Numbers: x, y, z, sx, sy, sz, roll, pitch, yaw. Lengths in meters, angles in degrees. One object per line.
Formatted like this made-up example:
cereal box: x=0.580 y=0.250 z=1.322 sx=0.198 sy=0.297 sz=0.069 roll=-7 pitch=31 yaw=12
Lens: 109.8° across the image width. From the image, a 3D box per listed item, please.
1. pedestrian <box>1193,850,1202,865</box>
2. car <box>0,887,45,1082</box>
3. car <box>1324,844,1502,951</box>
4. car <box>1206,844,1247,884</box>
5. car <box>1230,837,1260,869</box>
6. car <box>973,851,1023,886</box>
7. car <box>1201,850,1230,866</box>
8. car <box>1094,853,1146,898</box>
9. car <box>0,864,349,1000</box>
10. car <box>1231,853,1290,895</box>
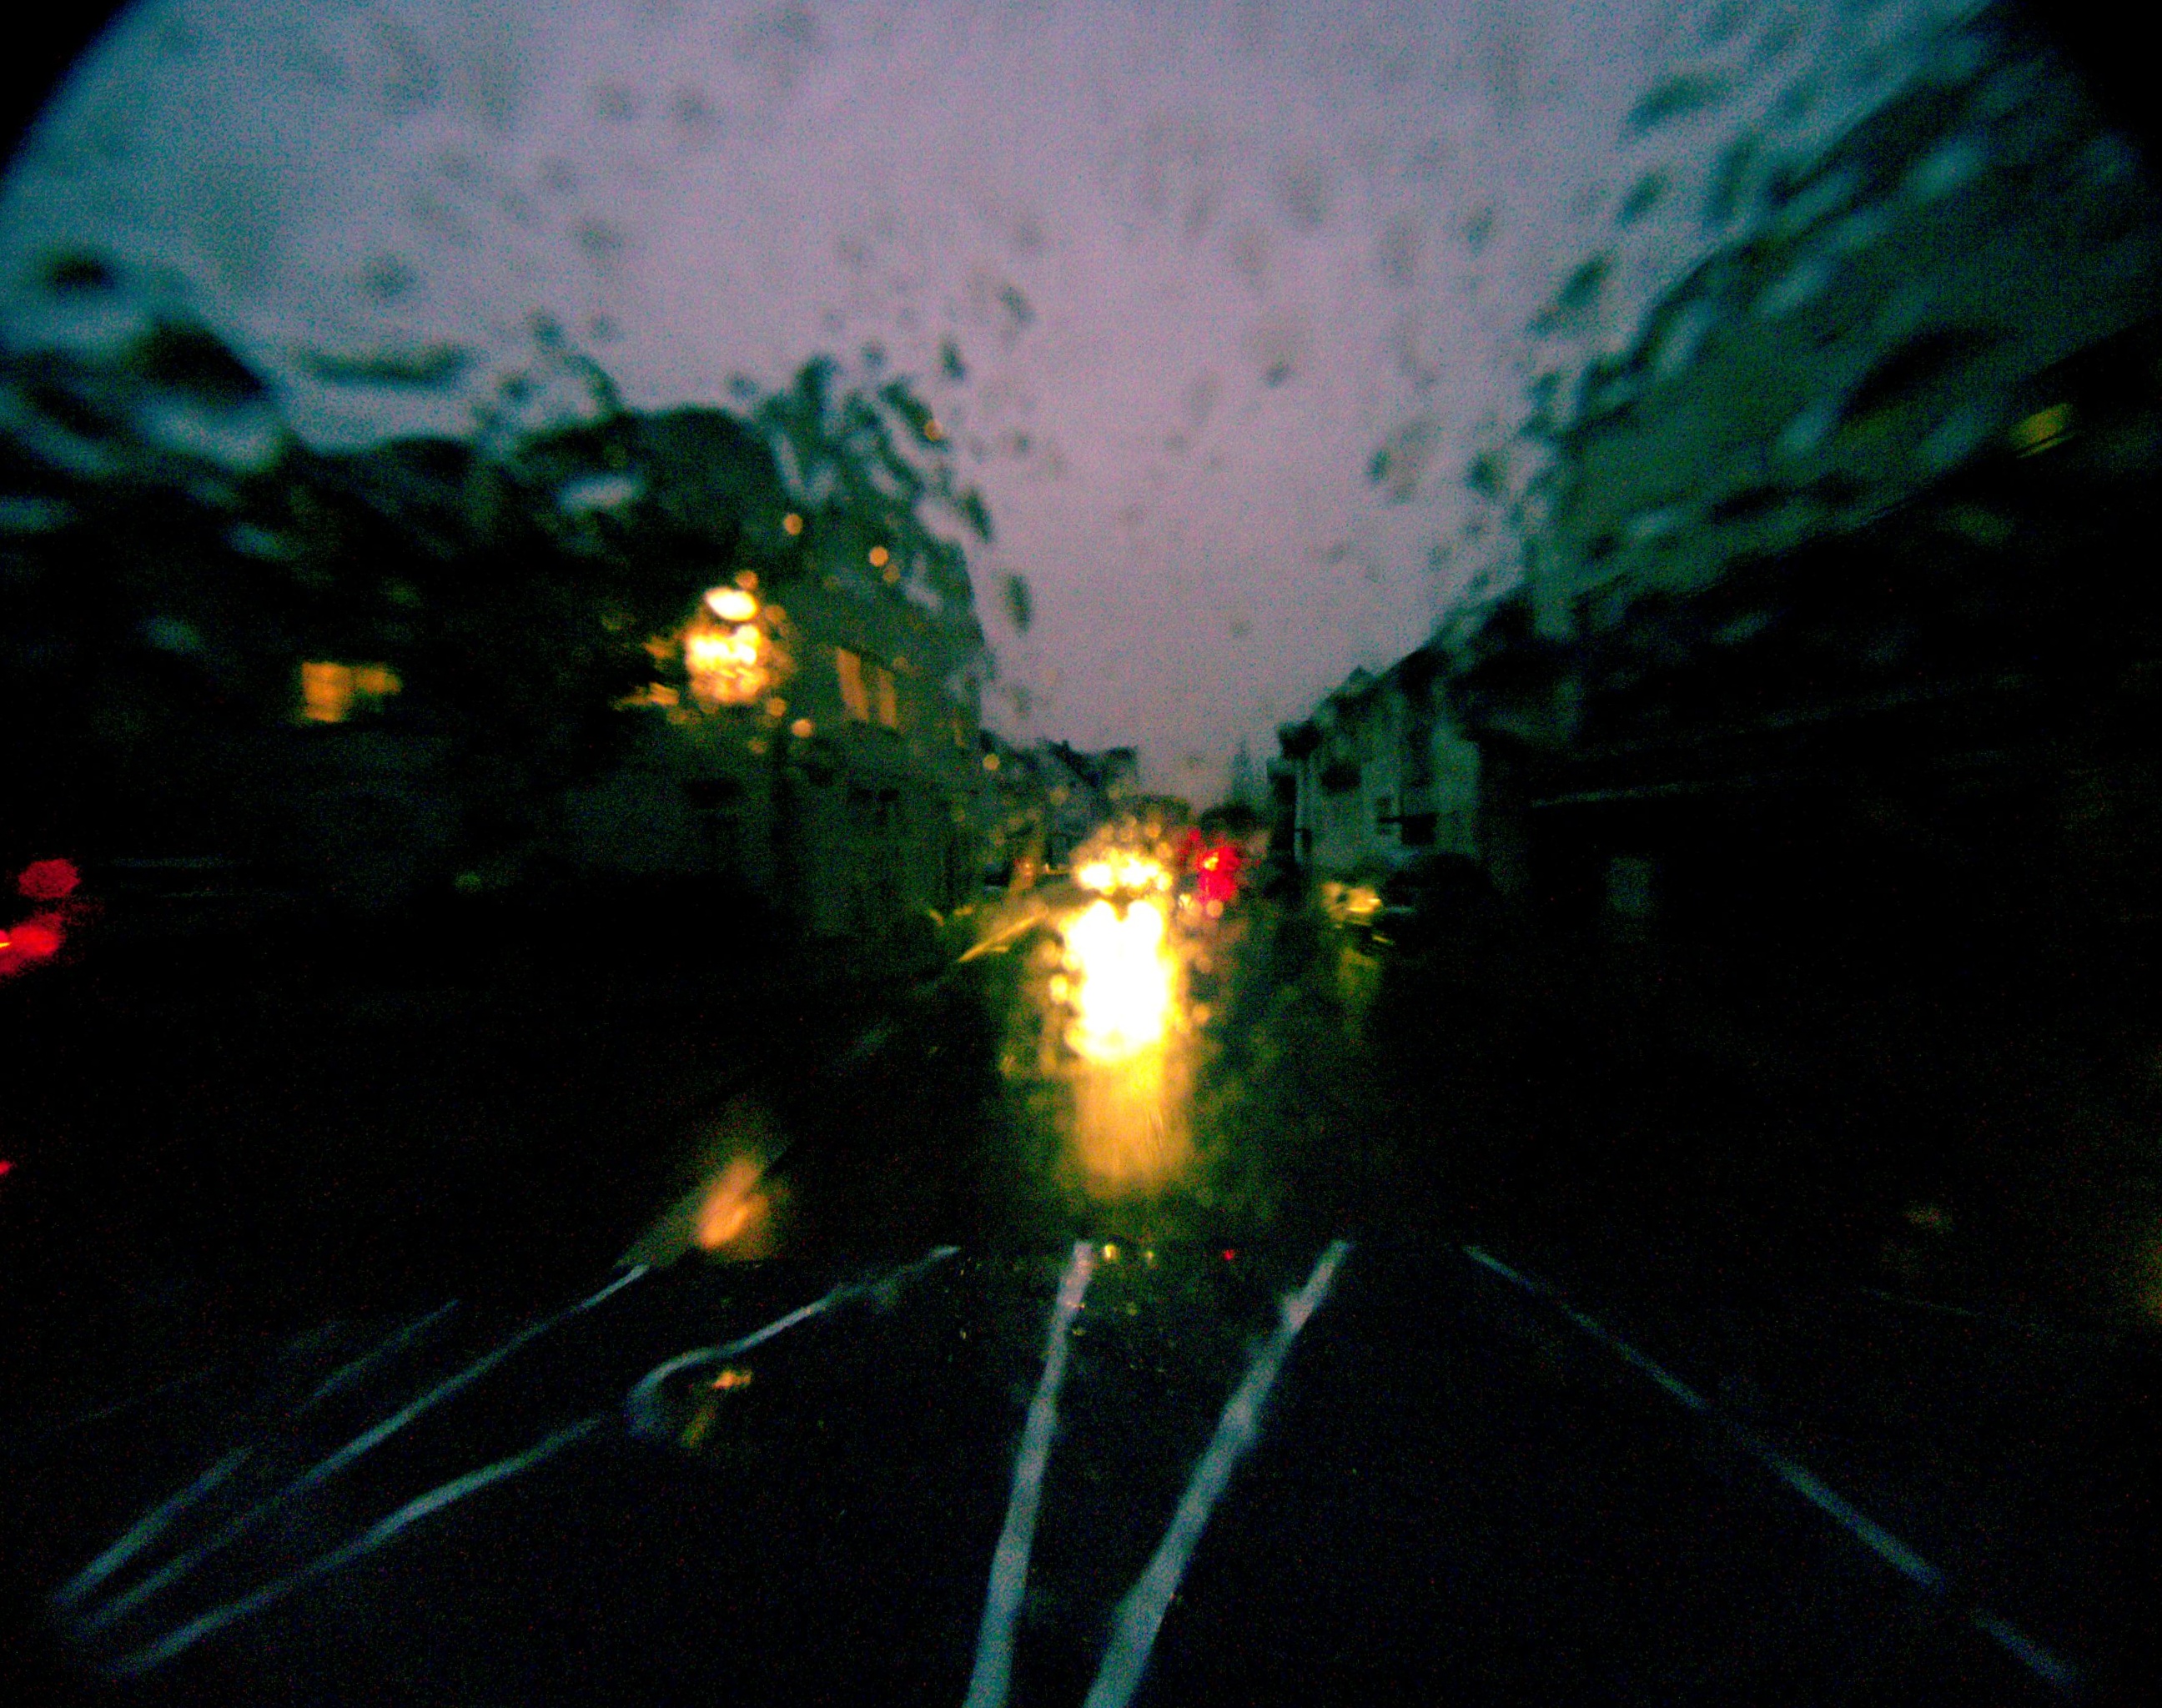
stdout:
pedestrian: x=12.770 y=0.402 z=83.359 sx=0.651 sy=1.651 sz=0.648 roll=1 pitch=1 yaw=-38
car: x=-9.871 y=0.982 z=4.944 sx=3.724 sy=1.439 sz=1.776 roll=0 pitch=0 yaw=-1
car: x=5.897 y=0.694 z=14.025 sx=1.725 sy=1.605 sz=3.816 roll=-4 pitch=0 yaw=3
car: x=7.602 y=0.519 z=39.624 sx=1.883 sy=1.888 sz=4.838 roll=-3 pitch=-1 yaw=11
car: x=14.673 y=-0.103 z=67.989 sx=2.044 sy=2.644 sz=4.215 roll=-4 pitch=0 yaw=18
car: x=-4.565 y=0.781 z=42.383 sx=1.784 sy=1.811 sz=4.246 roll=0 pitch=0 yaw=8
car: x=12.995 y=0.387 z=73.162 sx=1.995 sy=1.491 sz=4.006 roll=-1 pitch=0 yaw=21
car: x=1.570 y=0.782 z=29.922 sx=1.878 sy=1.622 sz=4.001 roll=-1 pitch=0 yaw=4
car: x=-12.121 y=0.882 z=10.518 sx=1.798 sy=1.459 sz=4.214 roll=0 pitch=0 yaw=-29
car: x=7.074 y=0.724 z=30.309 sx=1.798 sy=1.448 sz=4.397 roll=-3 pitch=0 yaw=8
